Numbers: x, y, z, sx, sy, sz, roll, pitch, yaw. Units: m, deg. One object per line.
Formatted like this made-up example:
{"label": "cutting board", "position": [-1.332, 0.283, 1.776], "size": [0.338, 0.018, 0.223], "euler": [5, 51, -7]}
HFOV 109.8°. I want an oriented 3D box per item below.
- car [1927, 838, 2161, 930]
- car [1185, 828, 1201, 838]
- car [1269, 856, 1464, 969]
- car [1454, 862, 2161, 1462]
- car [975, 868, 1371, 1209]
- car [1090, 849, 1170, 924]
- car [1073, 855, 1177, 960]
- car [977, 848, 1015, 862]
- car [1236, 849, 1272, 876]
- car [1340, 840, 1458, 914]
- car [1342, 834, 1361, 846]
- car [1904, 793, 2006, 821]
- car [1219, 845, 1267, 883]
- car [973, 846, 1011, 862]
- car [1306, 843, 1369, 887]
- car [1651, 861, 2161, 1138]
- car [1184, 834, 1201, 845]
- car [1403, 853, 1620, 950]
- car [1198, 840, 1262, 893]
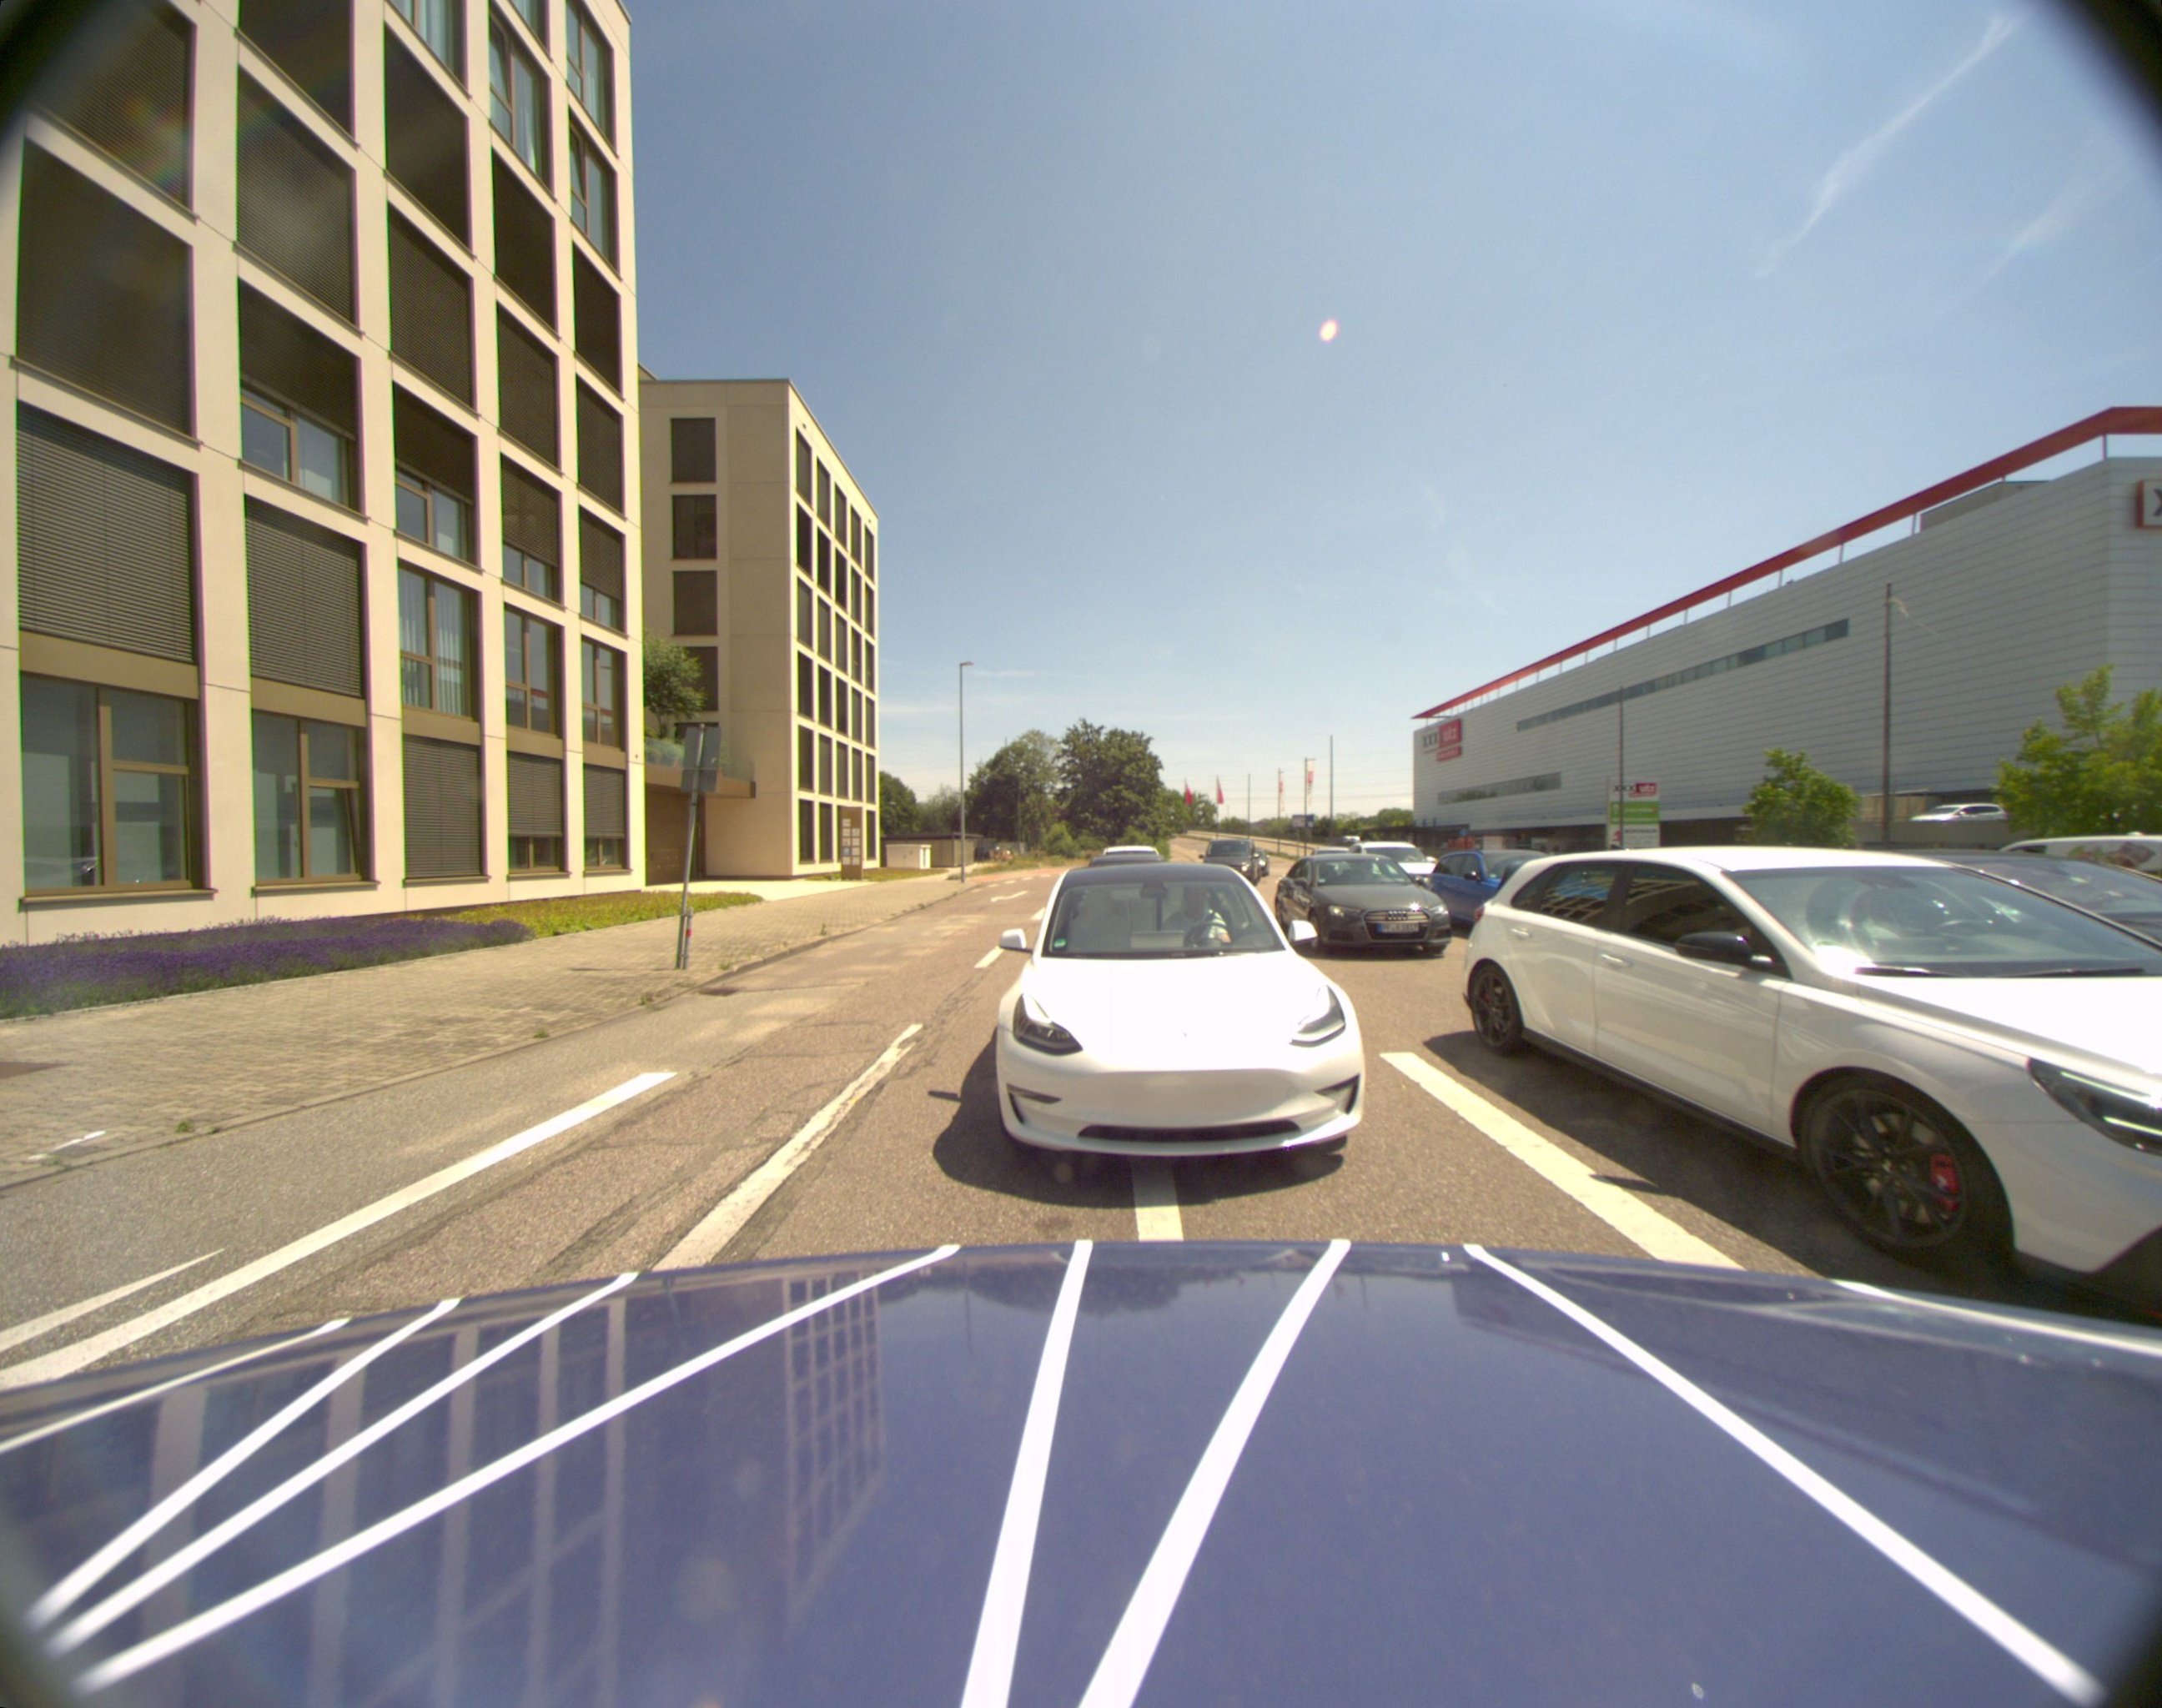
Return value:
{"label": "car", "position": [21.151, 0.559, 16.128], "size": [1.867, 1.713, 4.042], "euler": [0, 0, -1]}
{"label": "car", "position": [23.274, -4.443, 158.384], "size": [1.813, 2.002, 3.994], "euler": [-1, 1, -15]}
{"label": "car", "position": [4.134, 0.752, 11.722], "size": [1.769, 1.374, 4.090], "euler": [0, 1, 5]}
{"label": "car", "position": [3.694, 0.817, 3.676], "size": [1.792, 1.428, 4.070], "euler": [-2, 1, 1]}
{"label": "car", "position": [0.467, 0.919, 5.739], "size": [1.823, 1.428, 4.284], "euler": [-2, 1, 1]}
{"label": "car", "position": [1.236, 0.709, 18.820], "size": [1.777, 1.600, 3.821], "euler": [0, 1, 5]}
{"label": "car", "position": [0.808, 0.803, 13.328], "size": [1.556, 1.528, 3.822], "euler": [0, 1, 5]}
{"label": "car", "position": [-9.123, 0.101, 81.225], "size": [3.834, 1.386, 1.736], "euler": [0, 1, -13]}
{"label": "car", "position": [9.915, 0.456, 43.439], "size": [1.606, 1.431, 3.738], "euler": [0, 1, 19]}
{"label": "car", "position": [8.004, 0.504, 19.578], "size": [1.768, 1.632, 4.494], "euler": [-2, 1, 9]}
{"label": "car", "position": [52.067, -2.630, 146.473], "size": [2.191, 2.270, 4.814], "euler": [0, 1, 4]}
{"label": "car", "position": [51.802, -2.765, 45.095], "size": [3.996, 1.499, 1.717], "euler": [0, 1, 2]}
{"label": "car", "position": [7.561, 0.428, 35.214], "size": [1.811, 1.630, 4.005], "euler": [0, 1, 18]}
{"label": "car", "position": [-9.296, -0.011, 79.178], "size": [3.834, 1.543, 1.736], "euler": [0, 1, -13]}
{"label": "car", "position": [9.139, 0.368, 27.320], "size": [1.767, 1.414, 3.903], "euler": [-2, 0, 14]}
{"label": "car", "position": [6.601, 0.789, 5.492], "size": [1.675, 1.396, 4.467], "euler": [-2, 0, 2]}
{"label": "car", "position": [19.510, -2.500, 132.804], "size": [1.678, 1.805, 3.995], "euler": [-1, 1, -11]}
{"label": "car", "position": [7.396, 0.720, 13.628], "size": [1.768, 1.395, 4.433], "euler": [-2, 0, 7]}
{"label": "car", "position": [5.711, 0.385, 28.651], "size": [1.893, 1.811, 4.842], "euler": [0, 1, 17]}
